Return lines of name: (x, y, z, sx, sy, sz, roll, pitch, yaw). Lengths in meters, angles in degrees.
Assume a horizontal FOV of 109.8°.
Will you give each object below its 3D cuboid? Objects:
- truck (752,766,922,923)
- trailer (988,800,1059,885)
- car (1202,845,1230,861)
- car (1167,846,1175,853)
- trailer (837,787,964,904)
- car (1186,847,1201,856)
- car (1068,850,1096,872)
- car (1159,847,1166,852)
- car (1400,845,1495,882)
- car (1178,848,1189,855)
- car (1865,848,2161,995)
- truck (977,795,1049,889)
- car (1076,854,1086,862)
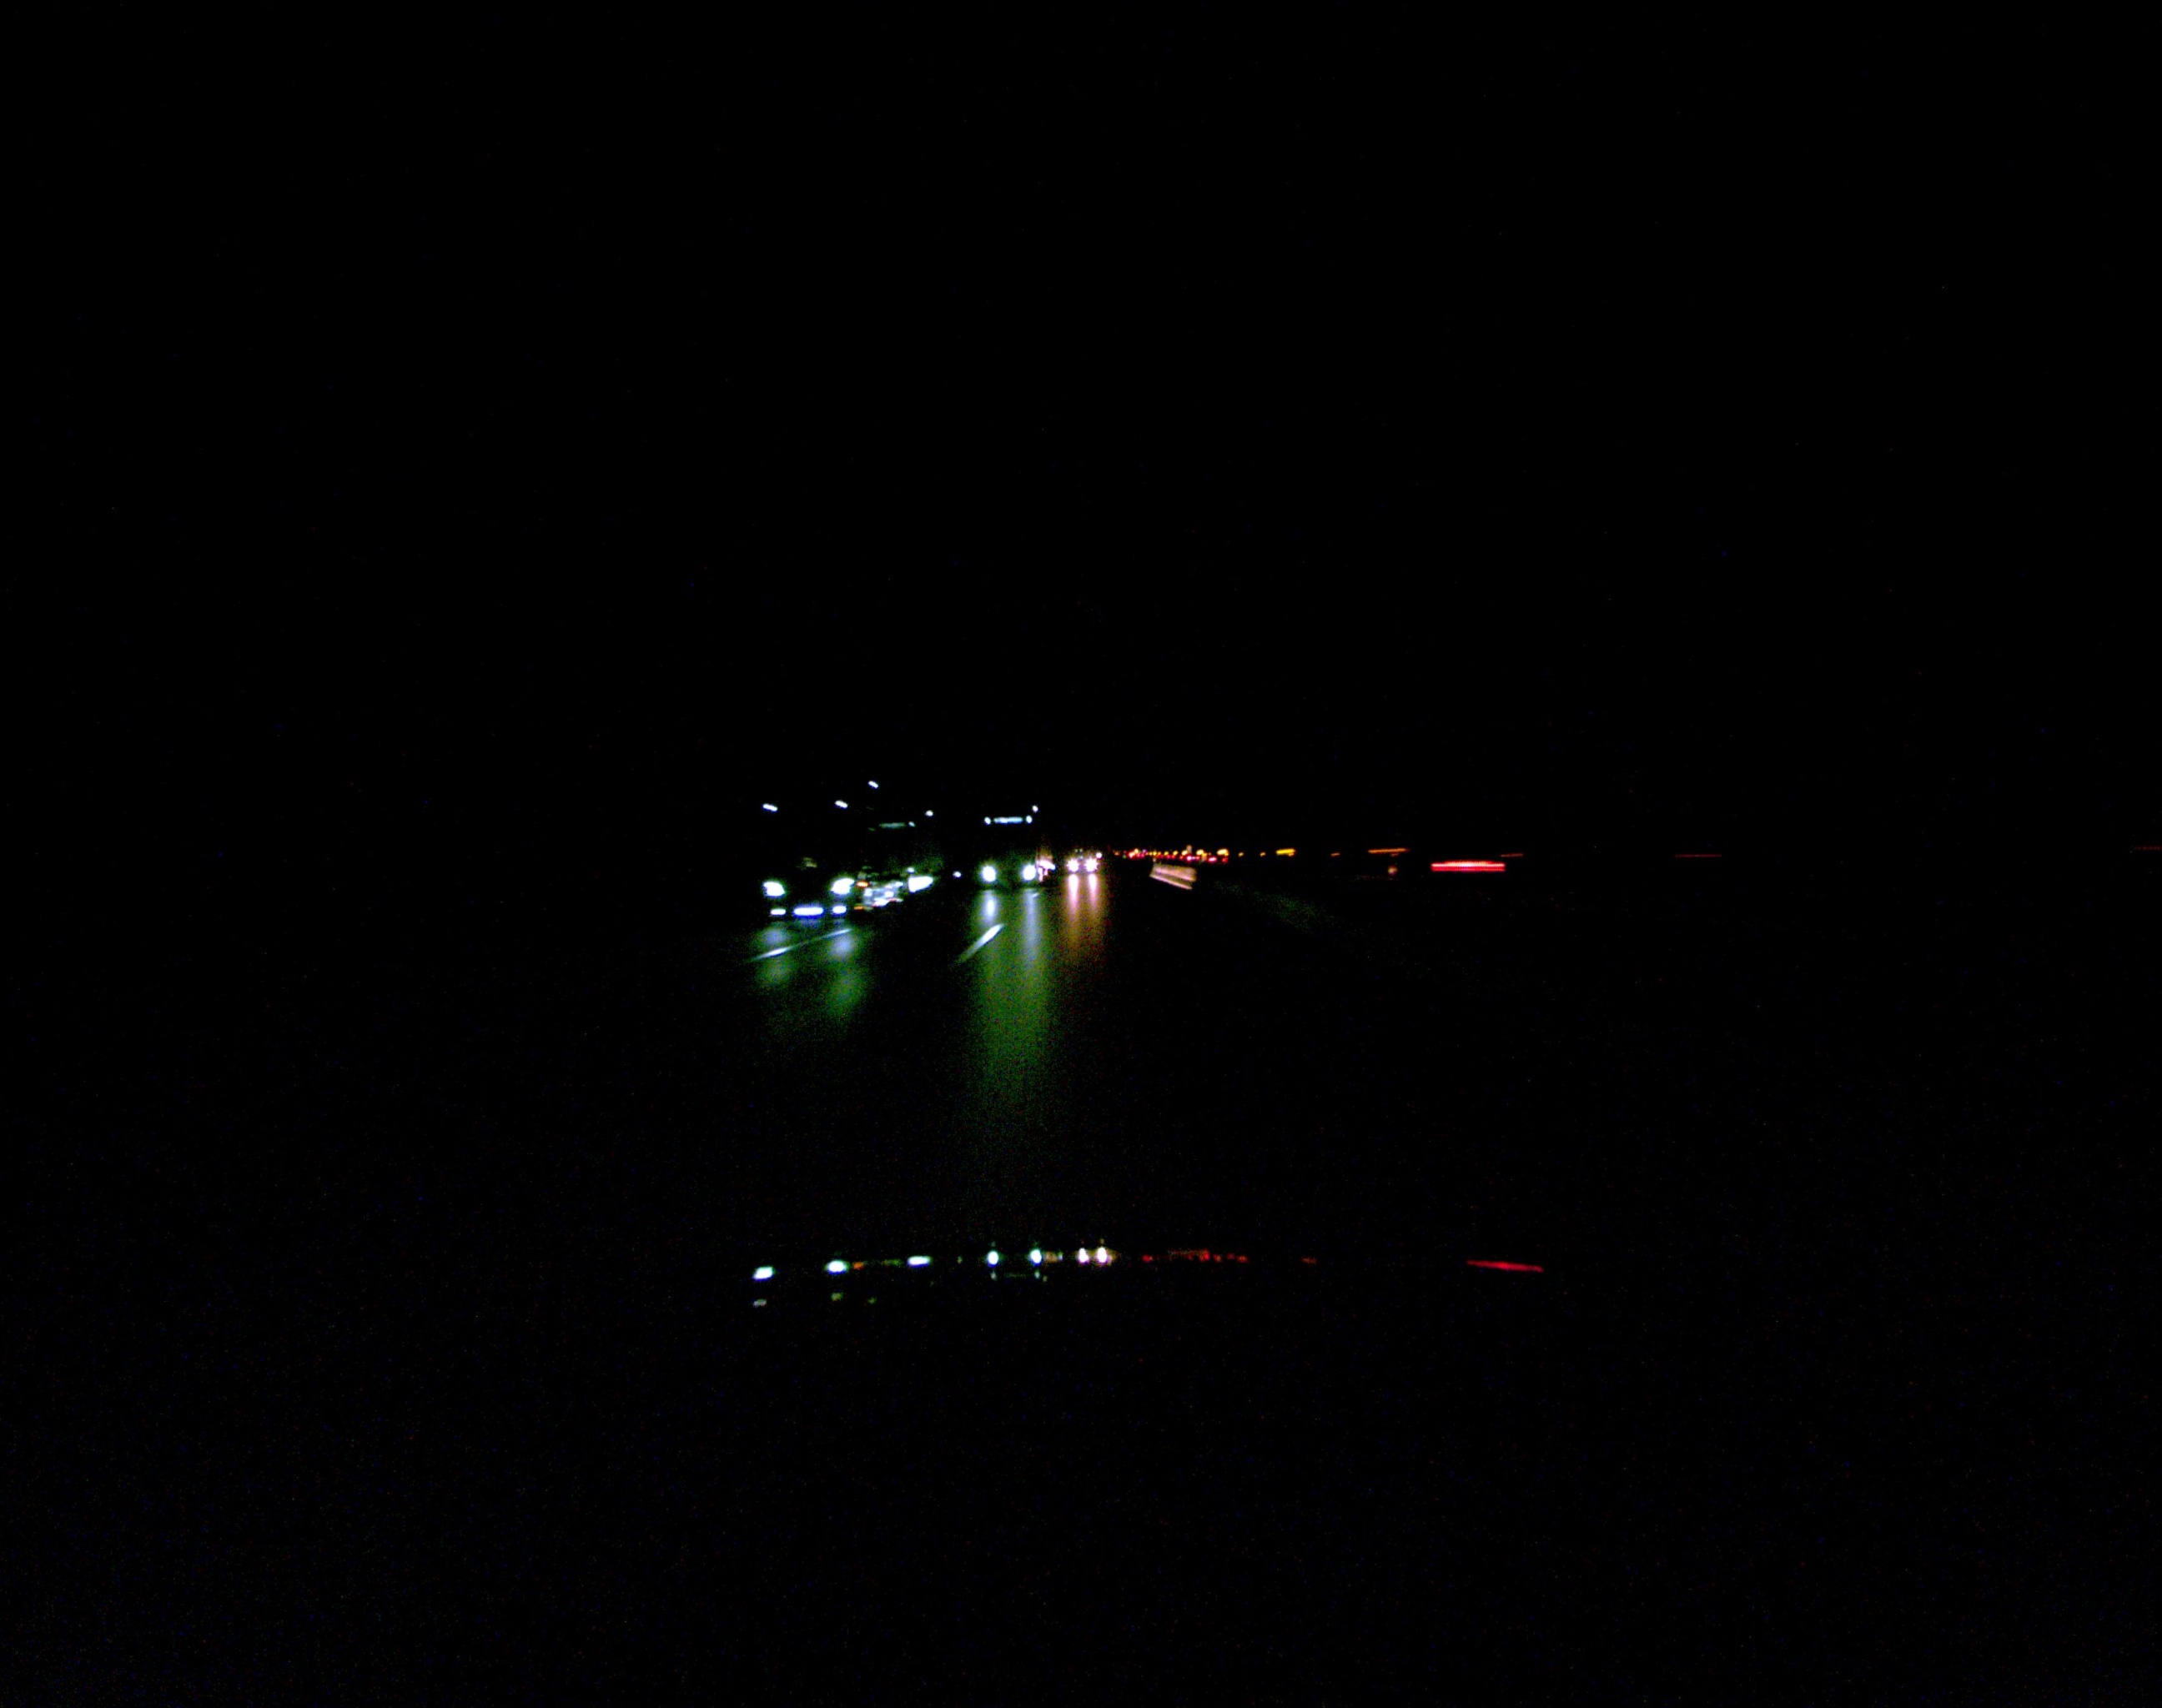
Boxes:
truck: (-7.304, -0.275, 24.114, 2.597, 4.049, 7.673, -3, 0, 1)
trailer: (-3.101, -0.627, 45.187, 2.749, 4.182, 13.509, -3, 0, 1)
car: (12.777, -0.141, 72.093, 1.755, 1.470, 4.581, 0, 0, -1)
car: (21.905, -1.093, 184.896, 1.754, 1.470, 4.727, 0, 0, 4)
trailer: (-7.179, -0.331, 32.035, 2.597, 4.049, 10.008, -3, 0, 1)
car: (17.402, -0.447, 117.980, 1.635, 1.386, 4.877, 0, 0, 0)
car: (0.118, 0.504, 57.637, 1.825, 1.458, 4.248, -3, 0, 3)
car: (23.269, -1.371, 217.899, 1.754, 1.470, 4.482, 0, 0, 2)
car: (15.461, 0.364, 32.356, 1.755, 1.470, 4.581, 0, 0, -1)
car: (19.725, -0.512, 146.537, 1.666, 1.326, 4.810, 0, 0, 2)
car: (11.729, 0.679, 8.194, 1.755, 1.470, 4.581, 0, 0, -1)
truck: (-3.239, -0.583, 38.106, 2.668, 4.182, 6.722, -3, 1, 1)
car: (0.018, 0.918, 188.296, 2.267, 1.842, 5.403, -3, 0, 0)
